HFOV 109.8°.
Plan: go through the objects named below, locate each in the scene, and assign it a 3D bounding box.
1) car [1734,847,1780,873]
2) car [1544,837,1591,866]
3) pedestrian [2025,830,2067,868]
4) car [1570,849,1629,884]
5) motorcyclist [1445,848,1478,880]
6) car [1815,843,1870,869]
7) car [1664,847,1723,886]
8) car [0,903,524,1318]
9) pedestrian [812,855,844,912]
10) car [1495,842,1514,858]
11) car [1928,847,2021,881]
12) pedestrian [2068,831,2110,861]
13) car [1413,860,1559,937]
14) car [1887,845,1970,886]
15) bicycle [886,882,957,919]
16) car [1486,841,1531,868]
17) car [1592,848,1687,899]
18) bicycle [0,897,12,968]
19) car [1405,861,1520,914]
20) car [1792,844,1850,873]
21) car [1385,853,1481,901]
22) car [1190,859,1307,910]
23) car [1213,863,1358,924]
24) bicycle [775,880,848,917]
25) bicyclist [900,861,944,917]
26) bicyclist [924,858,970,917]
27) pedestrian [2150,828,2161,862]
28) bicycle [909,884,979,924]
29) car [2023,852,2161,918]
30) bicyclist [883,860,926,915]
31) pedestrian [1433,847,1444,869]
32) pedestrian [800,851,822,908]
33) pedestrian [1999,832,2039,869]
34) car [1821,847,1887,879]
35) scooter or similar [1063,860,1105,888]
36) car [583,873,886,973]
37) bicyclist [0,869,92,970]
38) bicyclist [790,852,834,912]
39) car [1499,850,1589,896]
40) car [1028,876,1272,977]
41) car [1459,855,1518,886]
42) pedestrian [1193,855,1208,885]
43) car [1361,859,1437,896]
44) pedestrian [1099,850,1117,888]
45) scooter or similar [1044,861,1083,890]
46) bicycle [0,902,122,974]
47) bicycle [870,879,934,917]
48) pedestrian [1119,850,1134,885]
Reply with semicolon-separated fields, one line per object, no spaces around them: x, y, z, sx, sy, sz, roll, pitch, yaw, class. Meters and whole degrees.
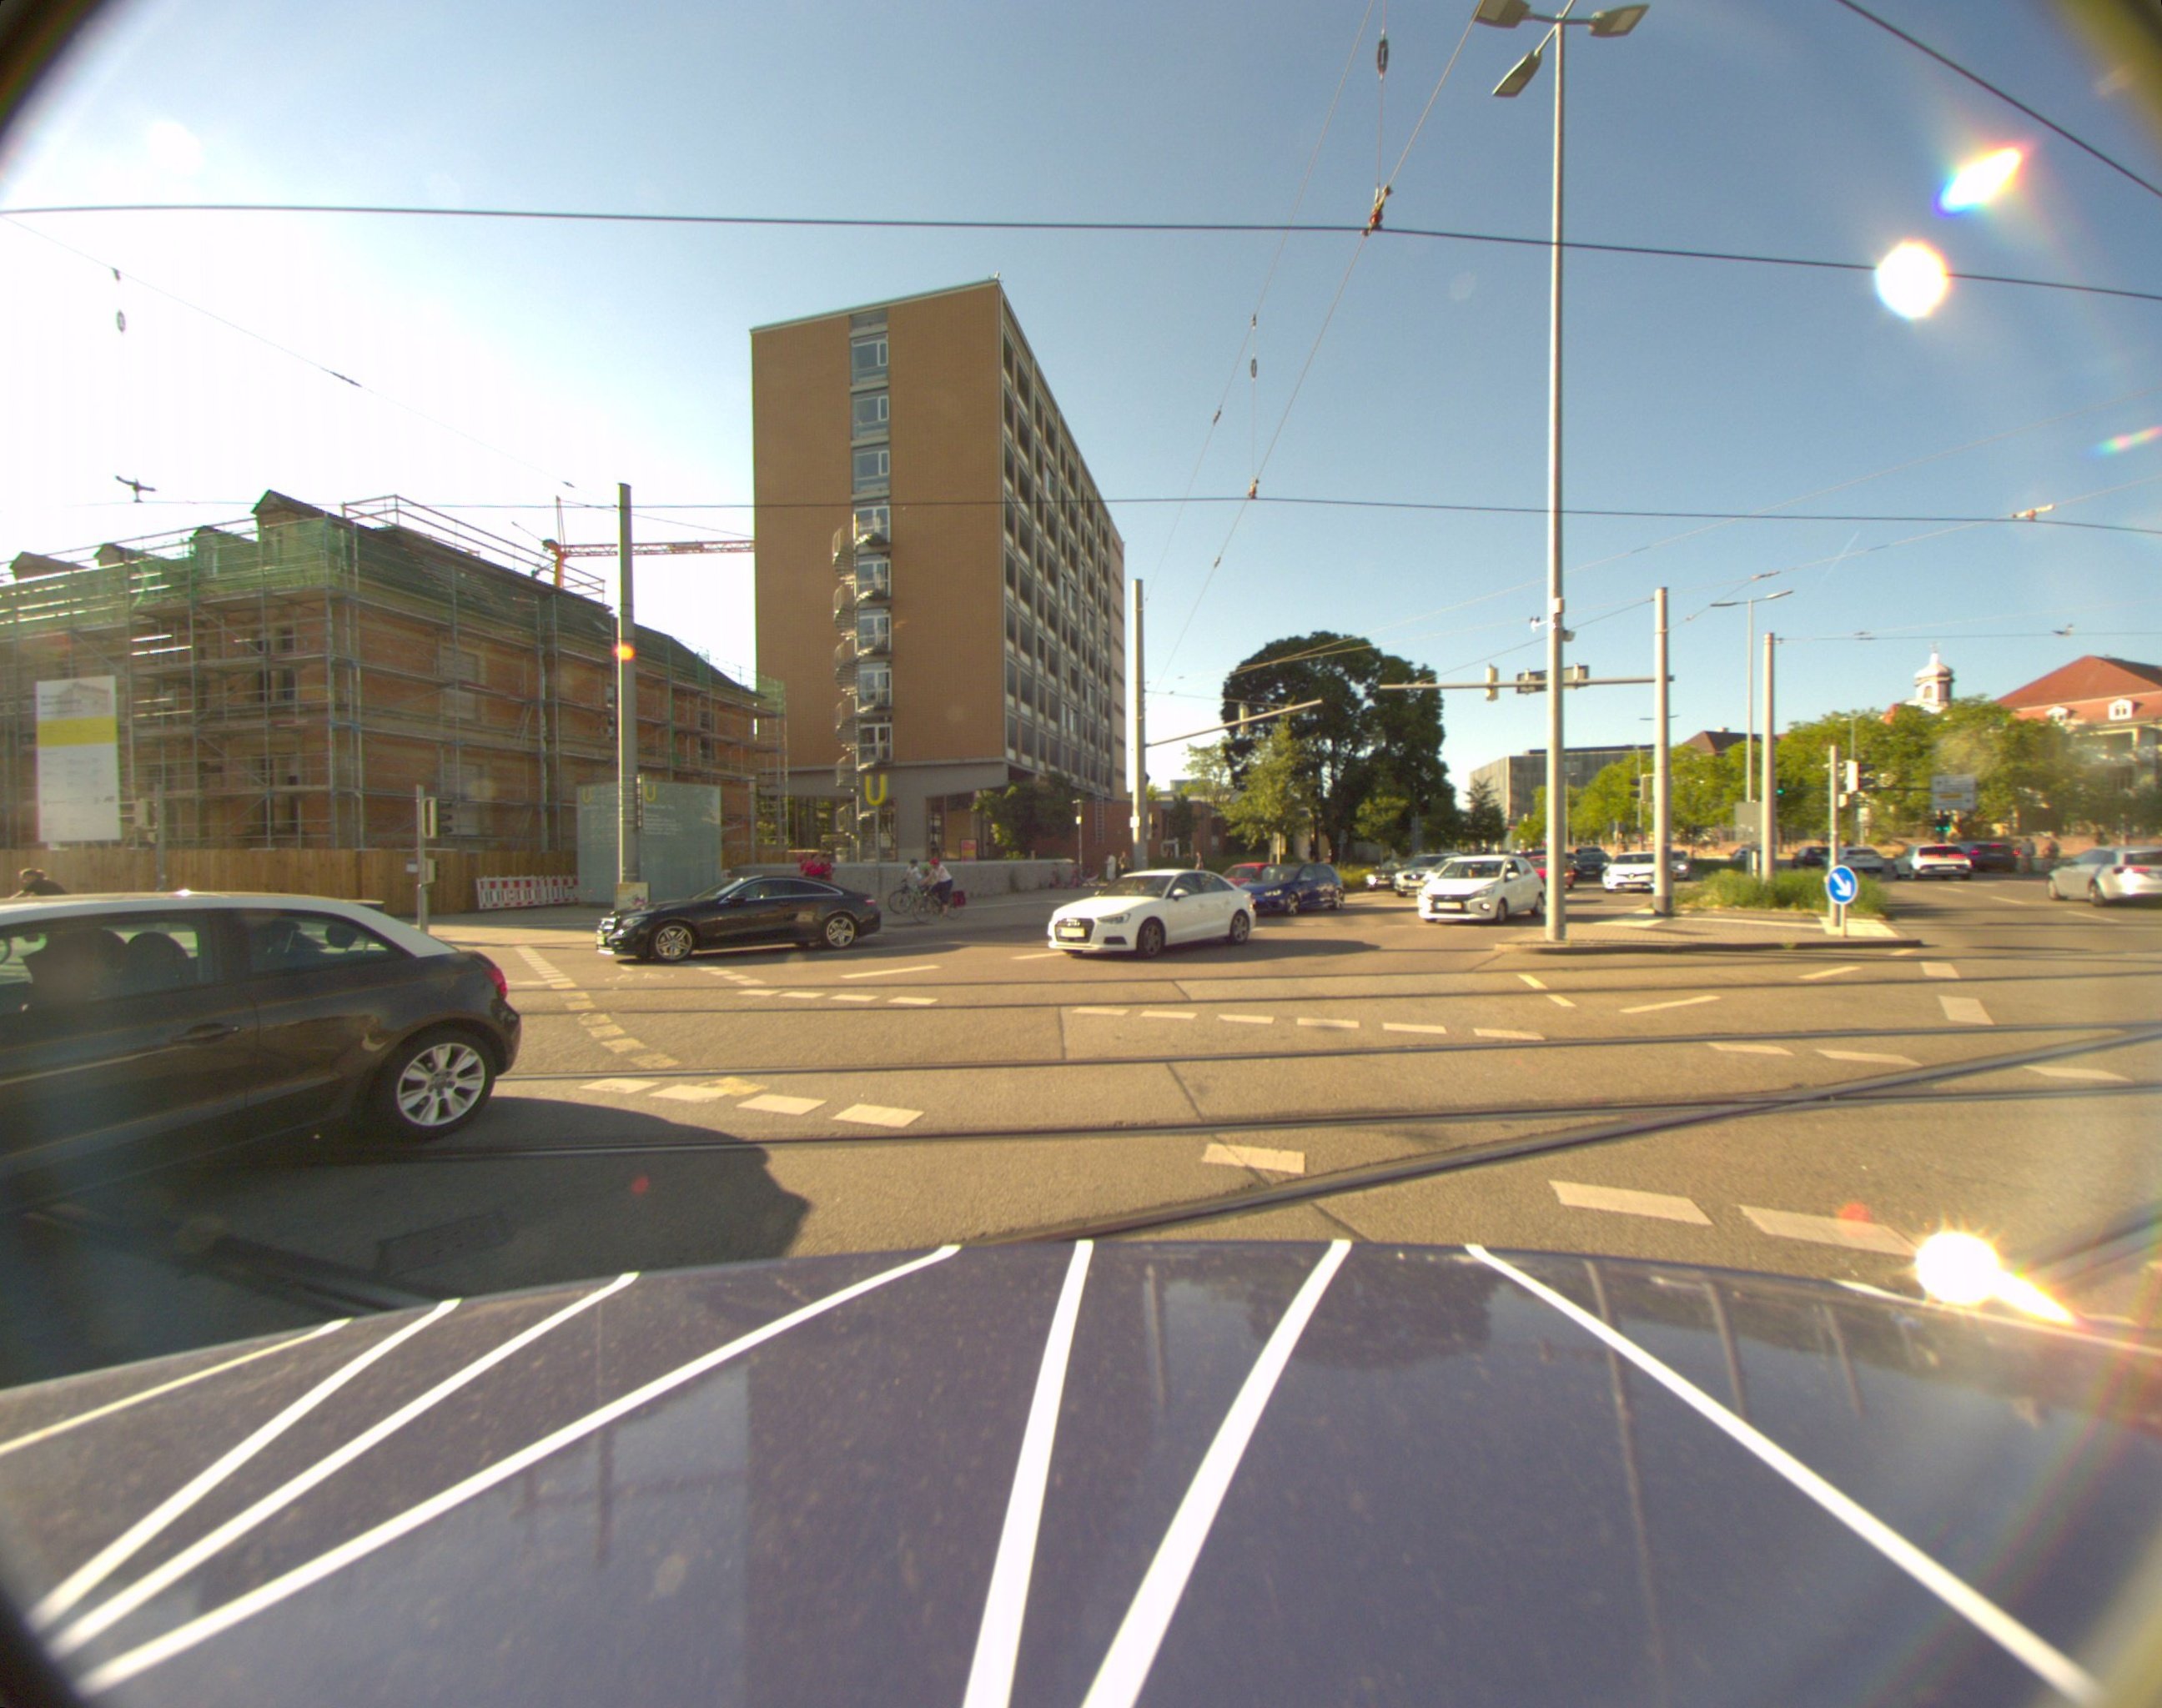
46.555;0.386;52.392;1.854;1.620;3.878;-5;-2;35;car
29.759;-0.146;46.419;1.818;1.717;4.008;-1;0;41;car
46.417;-0.214;36.558;0.803;1.757;0.975;-3;-2;24;pedestrian
27.217;0.639;39.832;1.995;1.673;4.008;-4;-2;42;car
20.231;0.540;40.377;1.115;1.657;1.457;-4;-2;44;motorcyclist
52.493;0.154;52.467;1.854;1.620;3.878;-5;-2;33;car
28.576;0.527;35.396;1.994;1.666;4.292;0;1;41;car
-4.766;1.016;3.016;1.692;1.380;3.836;-1;0;17;car
-7.984;0.913;23.961;0.620;1.729;0.734;1;2;38;pedestrian
78.156;-0.754;140.150;2.148;2.850;4.977;-1;0;18;car
47.579;0.529;40.566;1.860;1.620;4.045;-5;-2;29;car
54.068;-0.407;40.760;0.803;1.558;1.182;-3;-2;24;pedestrian
9.431;0.928;17.585;3.878;1.484;1.717;-2;1;-41;car
36.557;0.473;32.856;1.717;1.620;3.878;-2;-1;38;car
-4.671;1.346;22.309;1.884;0.964;0.710;0;3;-40;bicycle
28.401;0.030;50.469;1.818;1.718;4.008;-1;0;41;car
19.942;0.623;27.071;4.292;1.666;1.994;-1;1;-44;car
-17.710;1.243;11.352;1.906;1.116;0.647;-1;-2;-32;bicycle
11.695;0.951;23.179;3.923;1.455;1.779;0;0;-41;car
46.735;0.270;48.089;1.854;1.620;3.878;-5;-2;33;car
13.411;0.845;28.845;1.995;1.596;4.008;-4;-2;45;car
5.737;0.976;25.771;4.026;1.455;1.751;-2;2;-40;car
6.017;1.075;22.001;4.663;1.483;1.813;-1;-1;-43;car
-7.953;1.295;22.474;1.884;0.964;0.710;0;3;-40;bicycle
-4.656;1.006;22.299;1.019;1.579;0.692;0;3;-40;bicyclist
-3.777;0.915;21.470;0.692;1.579;1.019;4;3;39;bicyclist
55.855;-0.489;39.057;0.974;1.757;0.803;-2;-2;-23;pedestrian
-3.842;1.396;21.423;0.710;0.964;1.884;4;3;39;bicycle
25.464;0.704;18.604;1.842;1.414;4.441;-2;-1;35;car
-5.338;0.994;23.024;0.692;1.579;1.019;4;3;34;bicyclist
26.825;0.300;57.037;0.564;1.651;0.594;-4;-2;42;pedestrian
-8.323;0.778;23.407;0.623;1.729;0.664;0;1;-21;pedestrian
45.602;-0.165;36.959;0.803;1.757;0.965;-3;-2;24;pedestrian
43.467;0.474;42.829;1.854;1.620;3.878;-5;-2;35;car
0.127;0.964;36.184;1.830;1.239;0.799;-2;-2;-14;scooter or similar
-6.100;1.120;13.792;4.664;1.483;1.813;1;-3;-44;car
-17.803;1.100;12.972;0.977;1.651;0.647;-1;-2;-38;bicyclist
-7.949;0.817;22.462;1.019;1.699;0.692;0;3;-40;bicyclist
18.613;0.724;30.466;4.008;1.673;1.995;-1;-2;-43;car
1.358;1.108;13.218;1.822;1.380;4.467;-1;-1;44;car
24.811;0.976;46.200;1.995;1.673;4.717;-4;-2;42;car
6.495;0.884;41.427;0.572;1.625;0.505;-3;-2;35;pedestrian
14.403;1.014;34.324;1.751;1.455;4.027;0;2;45;car
1.261;0.706;35.261;0.625;1.701;0.485;-2;-2;-28;pedestrian
-0.797;0.997;34.875;1.707;1.239;0.800;-2;-1;-1;scooter or similar
-17.836;1.426;12.927;1.779;1.116;0.647;-1;-2;-38;bicycle
-5.386;1.308;22.983;0.710;0.964;1.884;4;3;34;bicycle
2.202;0.654;36.830;0.426;1.625;0.505;-3;-2;35;pedestrian
